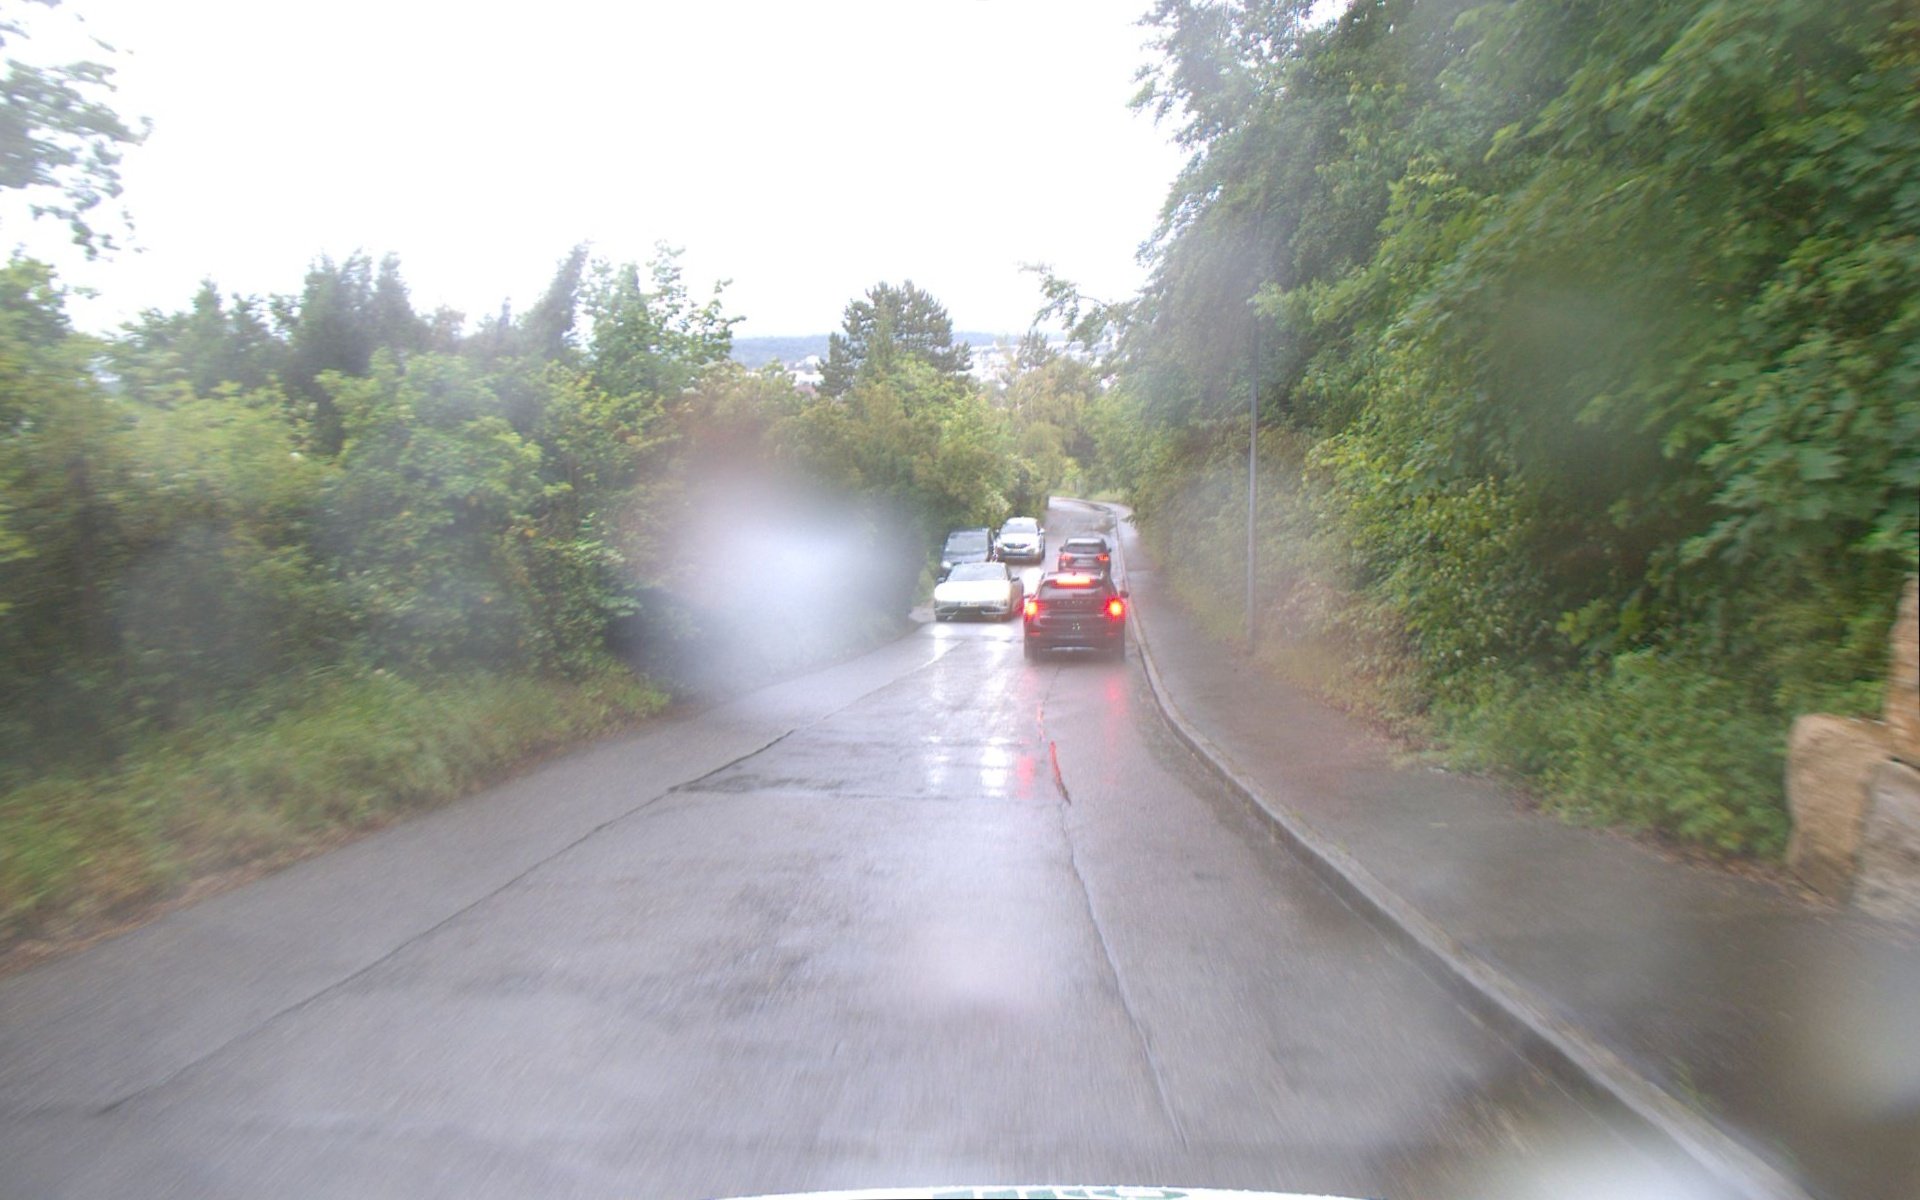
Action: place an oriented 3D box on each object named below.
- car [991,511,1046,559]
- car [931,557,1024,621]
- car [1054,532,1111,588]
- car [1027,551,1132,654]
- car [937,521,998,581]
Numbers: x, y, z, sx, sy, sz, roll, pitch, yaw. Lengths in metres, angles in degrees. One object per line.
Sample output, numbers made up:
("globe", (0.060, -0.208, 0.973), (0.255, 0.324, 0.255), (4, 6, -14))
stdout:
("car", (2.386, -2.636, 66.494), (2.005, 1.628, 4.234), (2, 5, 4))
("car", (0.514, -0.267, 42.671), (1.900, 1.549, 4.582), (0, 0, 7))
("car", (4.127, -1.305, 55.735), (1.824, 1.774, 4.002), (0, 0, 4))
("car", (2.032, -0.015, 29.059), (1.664, 1.475, 4.003), (-1, 4, 2))
("car", (0.296, -1.702, 56.635), (1.653, 1.813, 4.238), (-1, 4, 6))
